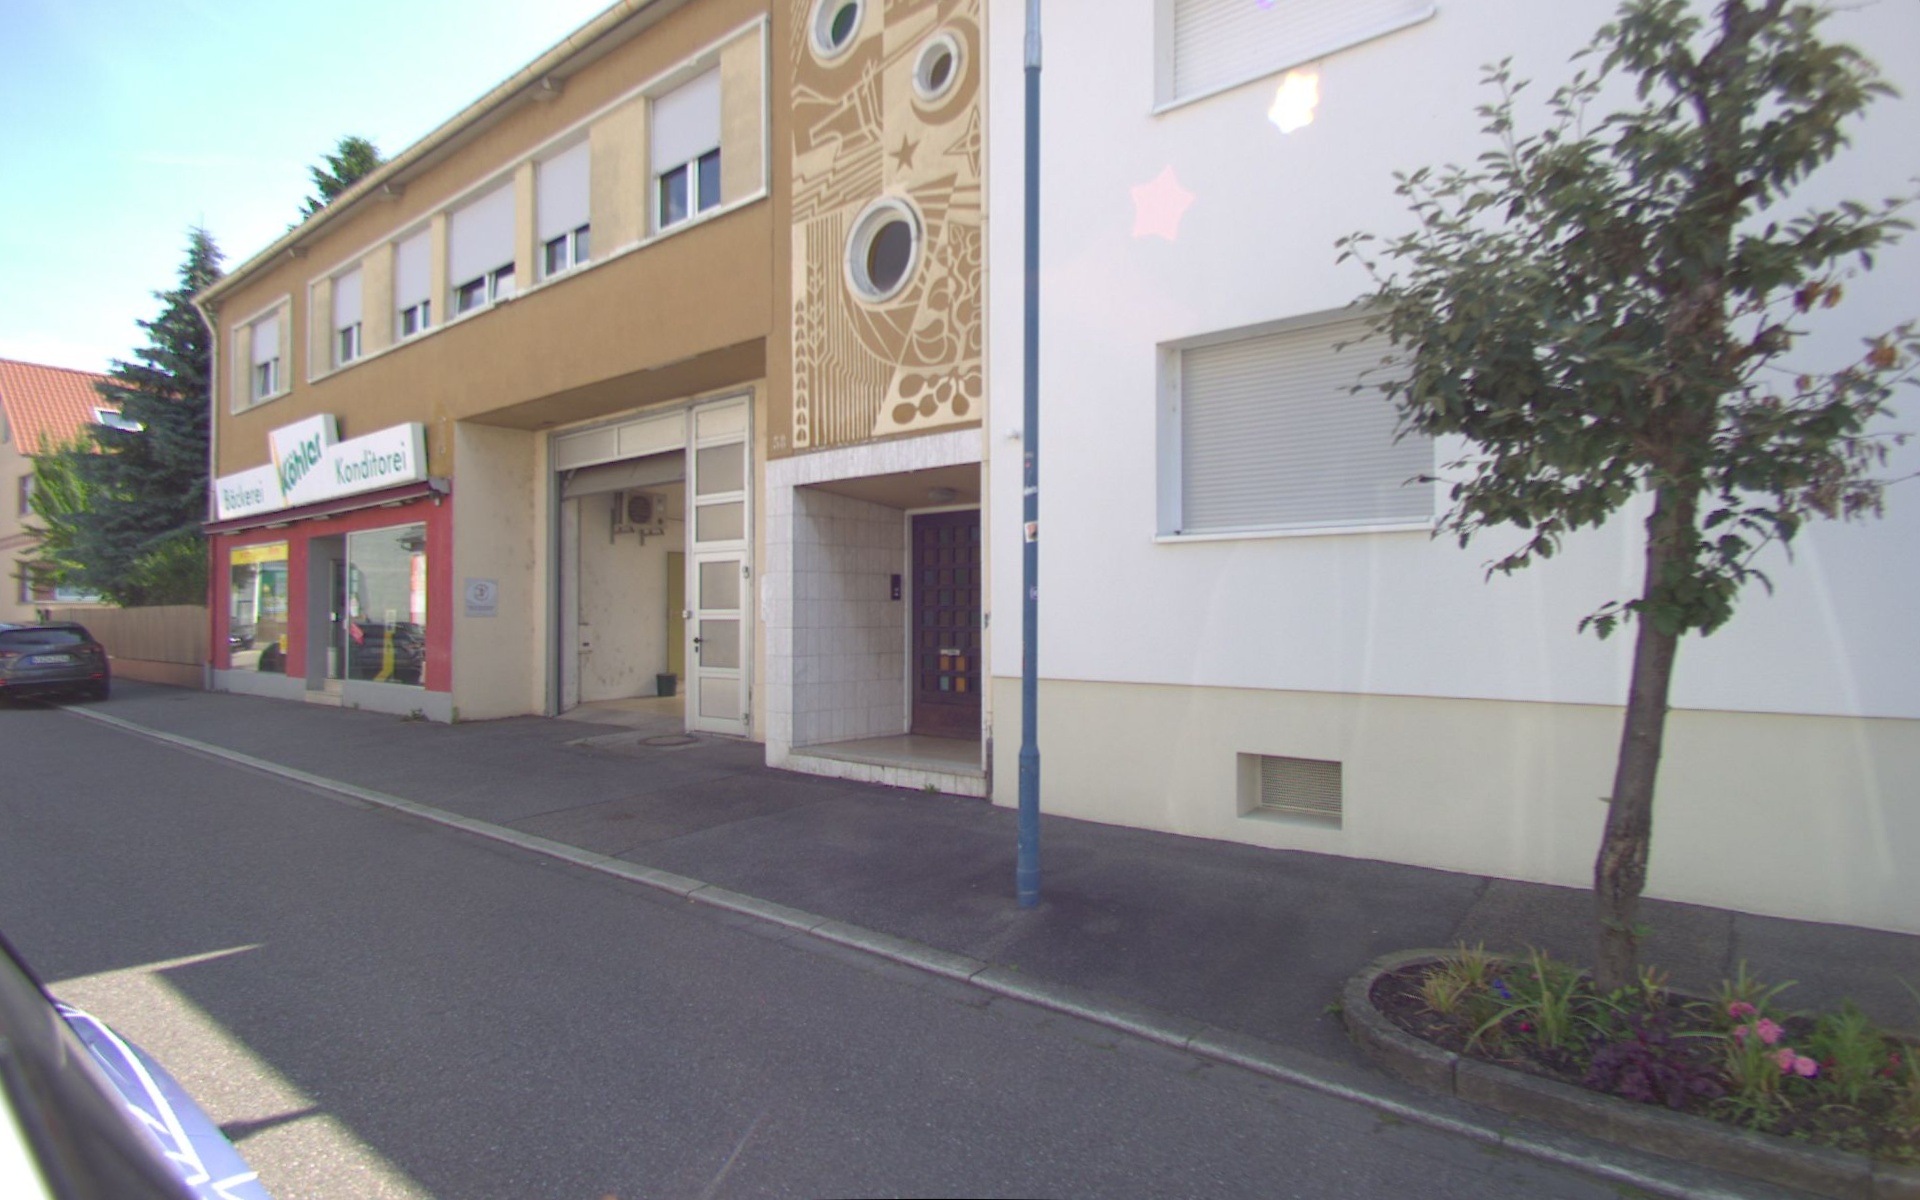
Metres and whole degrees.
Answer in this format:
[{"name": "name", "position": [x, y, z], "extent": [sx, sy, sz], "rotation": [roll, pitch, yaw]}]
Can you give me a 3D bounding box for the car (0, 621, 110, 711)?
[{"name": "car", "position": [-17.156, 1.129, 18.584], "extent": [4.435, 1.471, 1.749], "rotation": [-1, -1, 42]}]
